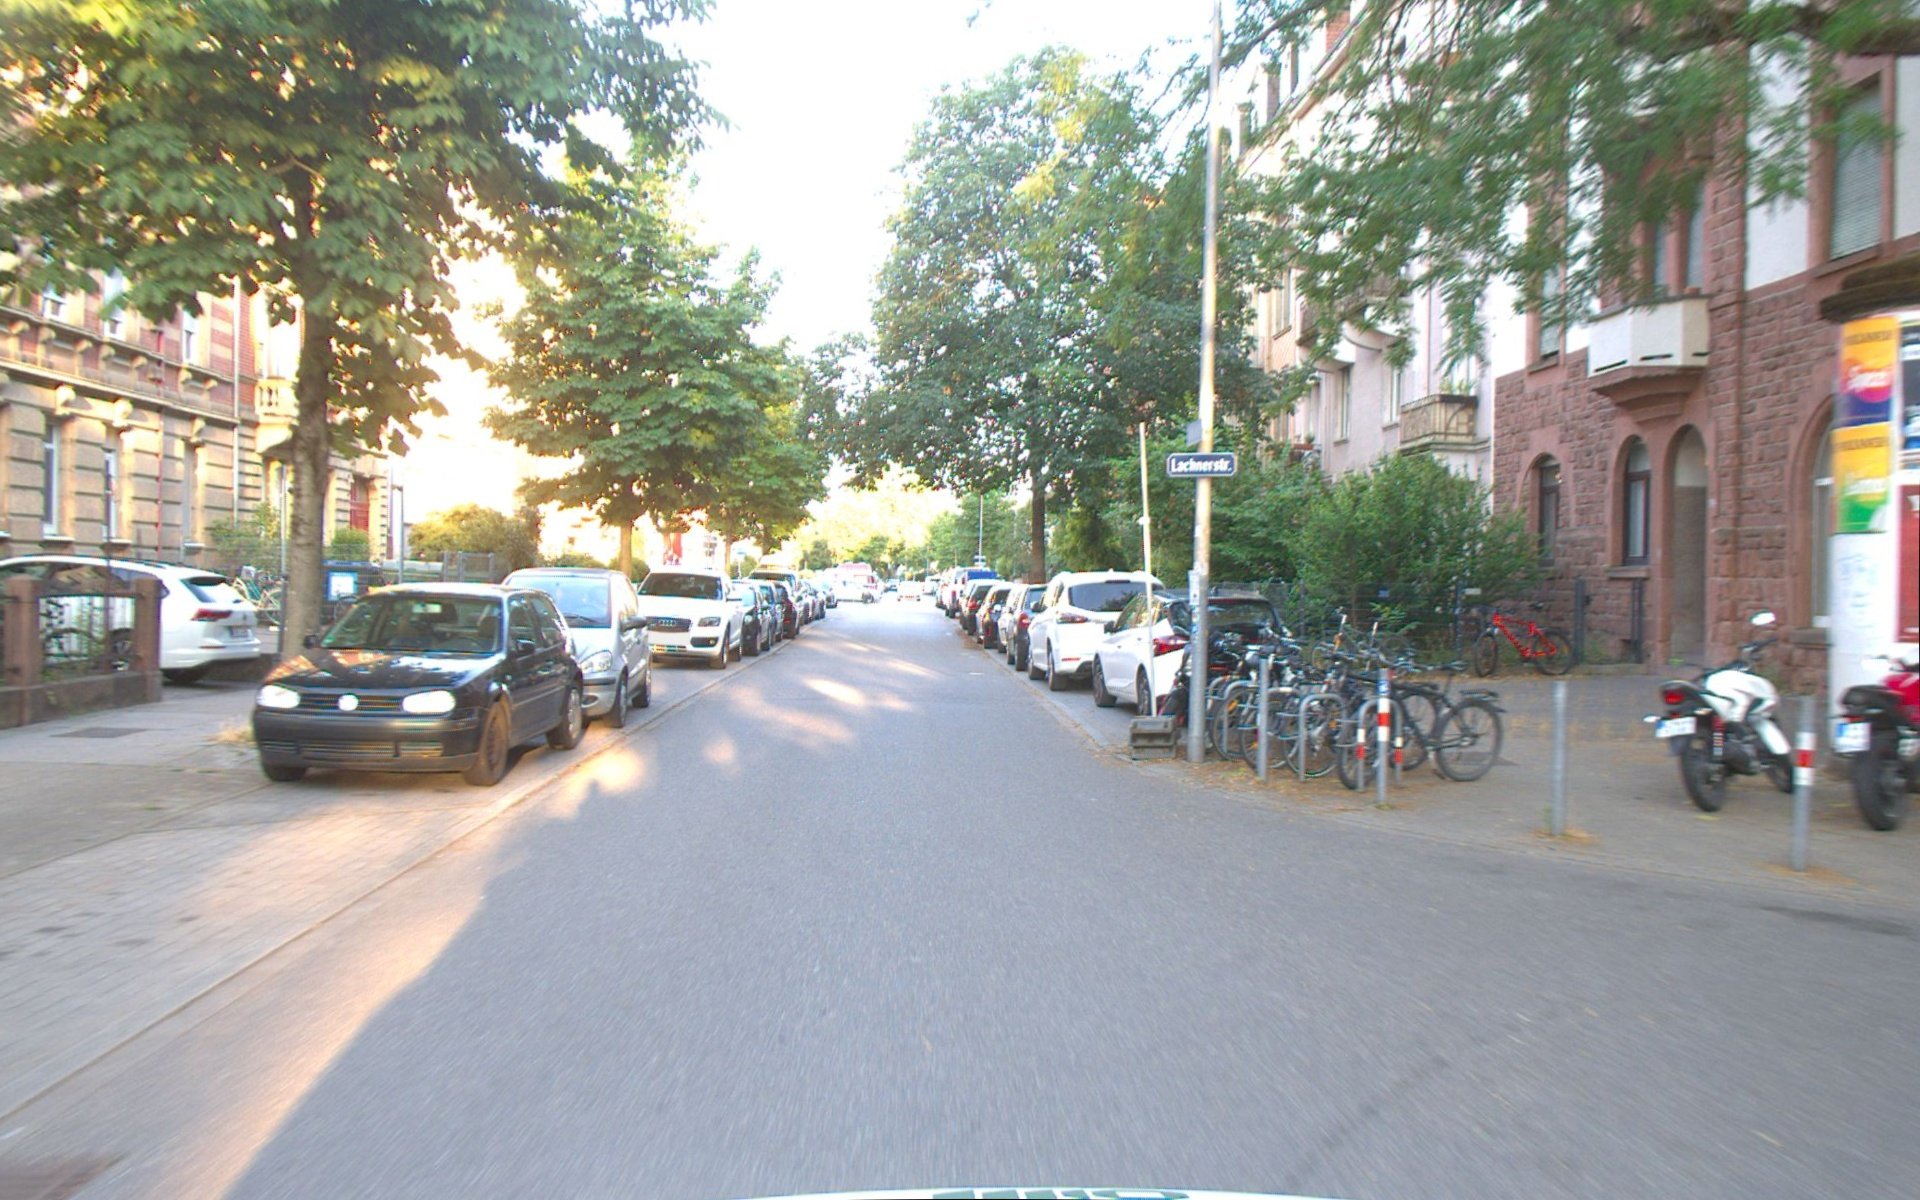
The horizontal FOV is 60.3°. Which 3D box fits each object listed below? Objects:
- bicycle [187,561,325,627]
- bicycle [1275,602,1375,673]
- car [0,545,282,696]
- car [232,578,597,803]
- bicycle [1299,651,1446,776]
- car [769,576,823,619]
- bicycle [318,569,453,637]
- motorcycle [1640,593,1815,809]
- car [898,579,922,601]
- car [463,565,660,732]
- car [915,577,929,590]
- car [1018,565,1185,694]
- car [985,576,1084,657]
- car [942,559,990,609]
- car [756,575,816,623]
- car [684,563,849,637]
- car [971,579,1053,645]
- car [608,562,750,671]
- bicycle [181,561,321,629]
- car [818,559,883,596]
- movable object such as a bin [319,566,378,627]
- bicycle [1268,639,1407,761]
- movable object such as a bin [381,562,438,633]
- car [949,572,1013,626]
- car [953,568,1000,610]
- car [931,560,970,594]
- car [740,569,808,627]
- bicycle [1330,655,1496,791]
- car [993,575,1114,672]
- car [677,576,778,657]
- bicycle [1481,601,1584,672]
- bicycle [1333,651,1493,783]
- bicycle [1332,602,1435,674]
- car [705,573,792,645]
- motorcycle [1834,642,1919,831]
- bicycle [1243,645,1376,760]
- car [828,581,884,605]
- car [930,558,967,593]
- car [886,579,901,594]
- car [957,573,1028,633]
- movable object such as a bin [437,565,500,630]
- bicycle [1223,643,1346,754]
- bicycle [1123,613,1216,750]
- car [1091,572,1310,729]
[{"bbox_3d":[-14.545,-0.124,34.240,2.485,1.212,0.641,3,1,-13],"label":"bicycle"},{"bbox_3d":[5.625,0.576,25.501,1.479,1.052,0.330,-1,2,-4],"label":"bicycle"},{"bbox_3d":[-10.627,0.197,20.072,4.012,1.554,1.708,4,1,-4],"label":"car"},{"bbox_3d":[-4.179,0.593,13.322,1.583,1.496,3.961,1,1,0],"label":"car"},{"bbox_3d":[3.437,0.930,13.772,1.205,0.980,0.329,0,2,-19],"label":"bicycle"},{"bbox_3d":[-5.939,-0.118,60.168,1.681,1.466,3.629,1,1,-2],"label":"car"},{"bbox_3d":[-11.639,0.055,33.533,2.476,1.212,0.644,4,1,3],"label":"bicycle"},{"bbox_3d":[5.781,0.688,12.388,0.575,1.432,2.200,2,2,41],"label":"motorcycle"},{"bbox_3d":[-3.864,-0.758,127.575,1.777,1.624,3.481,1,1,-2],"label":"car"},{"bbox_3d":[-4.275,0.448,18.205,1.564,1.631,3.740,1,1,-5],"label":"car"},{"bbox_3d":[-4.760,-2.079,207.223,1.681,1.624,3.481,1,1,-2],"label":"car"},{"bbox_3d":[2.004,0.382,24.703,1.763,1.741,4.597,0,0,-5],"label":"car"},{"bbox_3d":[1.560,0.325,35.679,1.654,1.634,3.745,1,0,-5],"label":"car"},{"bbox_3d":[0.215,-0.644,68.348,1.647,1.975,3.877,1,0,-5],"label":"car"},{"bbox_3d":[-5.747,-0.053,54.999,1.681,1.490,3.985,1,1,-2],"label":"car"},{"bbox_3d":[-4.994,-0.012,43.178,4.117,1.821,1.721,1,1,-3],"label":"car"},{"bbox_3d":[1.208,0.253,39.927,1.653,1.466,4.208,-1,0,-2],"label":"car"},{"bbox_3d":[-4.869,0.223,29.262,1.883,1.747,4.426,1,1,-2],"label":"car"},{"bbox_3d":[-14.432,-0.104,33.730,2.485,1.212,0.641,3,1,-13],"label":"bicycle"},{"bbox_3d":[-7.309,-1.516,110.346,4.264,2.358,1.744,1,1,-4],"label":"car"},{"bbox_3d":[-13.331,-0.082,36.106,1.079,1.230,1.001,3,1,-16],"label":"movable object such as a bin"},{"bbox_3d":[3.236,0.841,14.154,1.208,0.974,0.328,0,2,-25],"label":"bicycle"},{"bbox_3d":[-11.905,-0.060,35.803,1.079,1.439,1.001,3,1,-16],"label":"movable object such as a bin"},{"bbox_3d":[0.634,-0.044,52.477,1.654,1.634,3.936,1,0,-5],"label":"car"},{"bbox_3d":[0.620,-0.429,64.524,1.508,1.548,3.428,1,0,-5],"label":"car"},{"bbox_3d":[-0.487,-1.138,83.227,1.654,1.634,3.936,1,0,-5],"label":"car"},{"bbox_3d":[-5.587,-0.087,50.172,1.681,1.624,4.517,1,1,-2],"label":"car"},{"bbox_3d":[3.514,0.947,12.854,1.200,1.004,0.330,-1,2,-4],"label":"bicycle"},{"bbox_3d":[1.646,0.384,30.405,1.654,1.634,4.206,1,0,-5],"label":"car"},{"bbox_3d":[-4.841,0.323,34.852,1.681,1.594,3.779,1,0,-2],"label":"car"},{"bbox_3d":[8.751,0.550,25.282,1.479,1.052,0.330,-1,2,-4],"label":"bicycle"},{"bbox_3d":[3.620,0.927,13.222,1.200,1.005,0.330,-1,2,-6],"label":"bicycle"},{"bbox_3d":[6.395,0.576,24.972,1.479,1.052,0.330,-1,2,-4],"label":"bicycle"},{"bbox_3d":[-4.968,0.180,39.303,1.681,1.593,3.786,1,1,-2],"label":"car"},{"bbox_3d":[6.627,0.892,11.484,0.430,1.098,2.199,2,2,42],"label":"motorcycle"},{"bbox_3d":[3.141,0.905,14.853,1.208,0.964,0.328,0,2,-25],"label":"bicycle"},{"bbox_3d":[-6.774,-0.469,107.788,3.549,1.486,1.605,1,1,-6],"label":"car"},{"bbox_3d":[-0.643,-1.307,88.890,1.654,1.843,3.936,1,0,-5],"label":"car"},{"bbox_3d":[-7.725,-1.540,191.302,1.681,1.624,3.481,1,1,-2],"label":"car"},{"bbox_3d":[0.892,0.060,48.006,1.654,1.634,3.936,1,0,-5],"label":"car"},{"bbox_3d":[-10.698,-0.058,36.019,0.992,1.344,1.005,3,1,2],"label":"movable object such as a bin"},{"bbox_3d":[3.039,0.905,15.463,1.211,0.968,0.327,-1,2,-30],"label":"bicycle"},{"bbox_3d":[2.002,0.738,15.640,0.434,1.193,1.636,1,0,22],"label":"bicycle"},{"bbox_3d":[2.671,0.506,19.149,1.654,1.620,3.654,1,1,-6],"label":"car"}]
